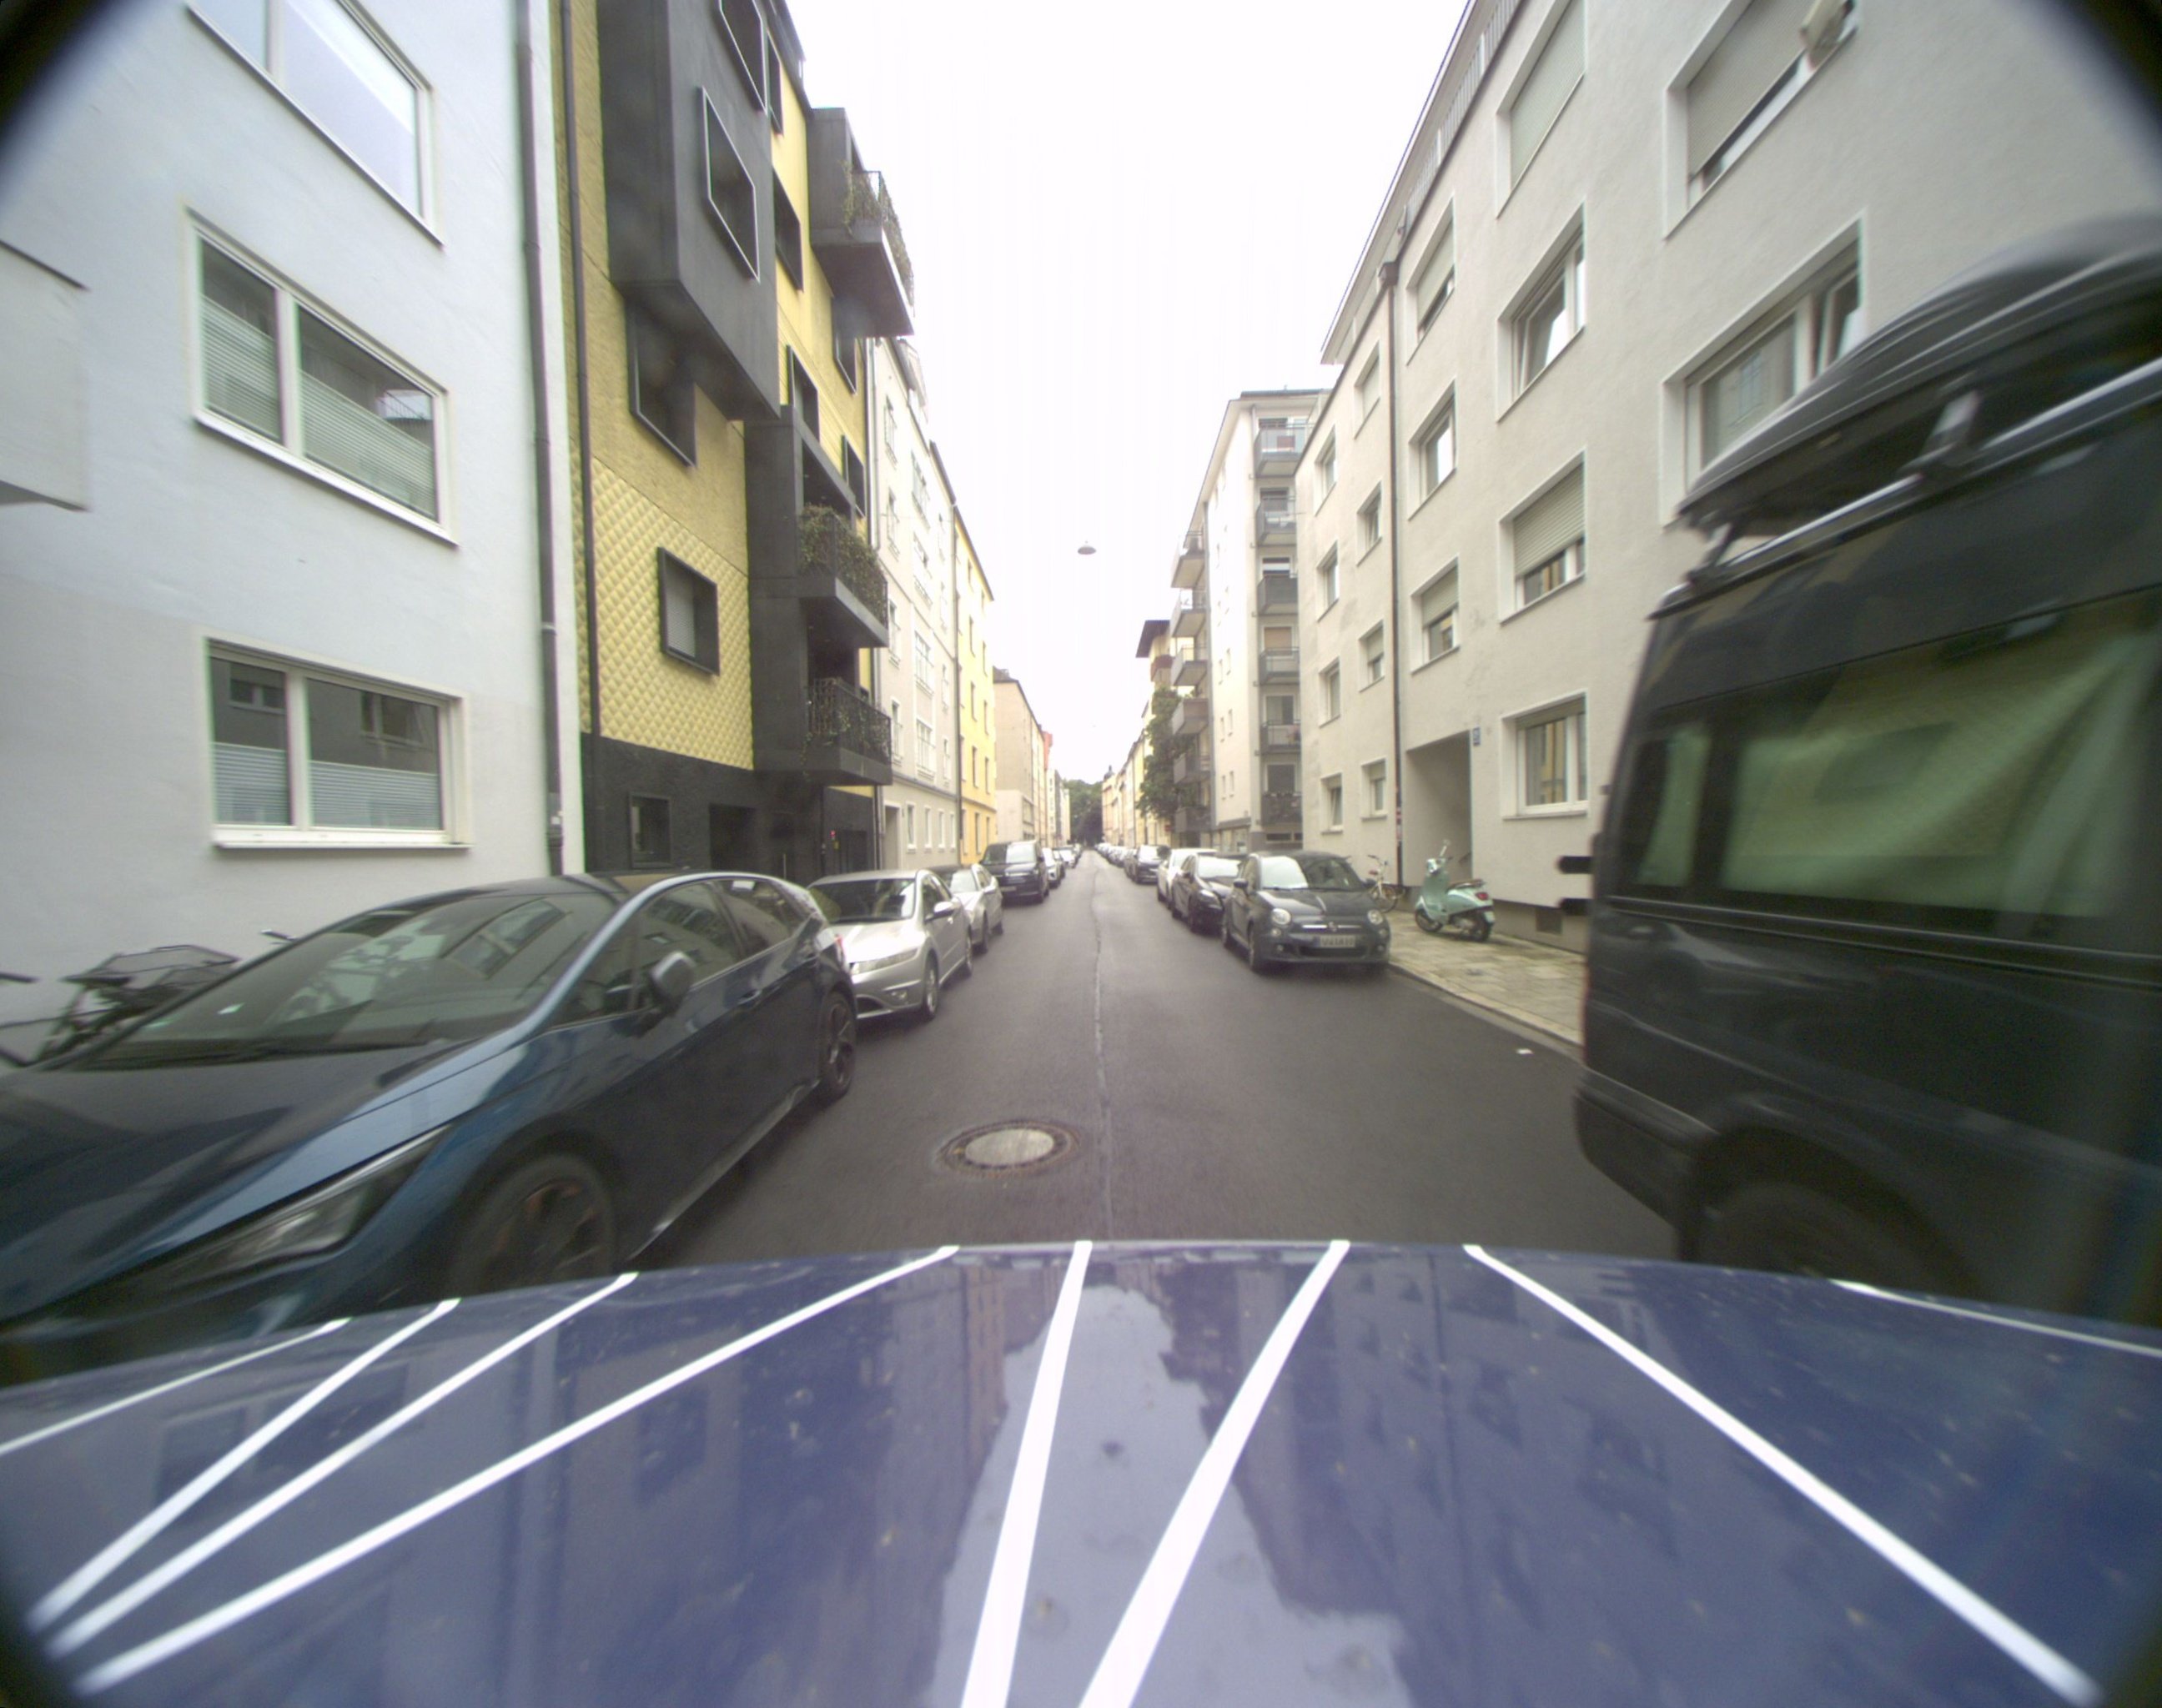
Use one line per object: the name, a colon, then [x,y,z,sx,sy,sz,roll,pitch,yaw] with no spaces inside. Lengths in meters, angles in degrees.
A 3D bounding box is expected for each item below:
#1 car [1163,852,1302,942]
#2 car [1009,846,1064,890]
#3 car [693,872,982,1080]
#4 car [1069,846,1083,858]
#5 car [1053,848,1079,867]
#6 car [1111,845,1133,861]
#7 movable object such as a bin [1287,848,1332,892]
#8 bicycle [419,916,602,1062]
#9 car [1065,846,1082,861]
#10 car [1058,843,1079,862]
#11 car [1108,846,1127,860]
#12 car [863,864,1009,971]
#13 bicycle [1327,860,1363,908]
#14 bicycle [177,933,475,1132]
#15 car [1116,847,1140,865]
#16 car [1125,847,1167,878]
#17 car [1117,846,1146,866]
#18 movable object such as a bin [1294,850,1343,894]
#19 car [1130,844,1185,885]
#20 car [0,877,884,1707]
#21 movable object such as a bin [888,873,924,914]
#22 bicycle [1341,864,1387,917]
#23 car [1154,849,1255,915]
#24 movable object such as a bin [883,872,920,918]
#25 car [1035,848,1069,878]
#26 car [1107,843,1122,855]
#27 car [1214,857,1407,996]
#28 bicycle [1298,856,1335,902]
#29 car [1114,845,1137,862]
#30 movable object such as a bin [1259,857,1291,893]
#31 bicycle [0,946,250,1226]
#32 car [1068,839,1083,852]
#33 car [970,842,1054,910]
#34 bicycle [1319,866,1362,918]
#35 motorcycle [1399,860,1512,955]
car: [2.778,0.715,14.899,1.805,1.409,4.225,-1,1,-1]
car: [-1.784,0.517,31.919,1.966,1.665,4.540,-1,1,1]
car: [-2.299,1.065,8.444,1.764,1.423,4.260,-4,1,-1]
car: [-0.692,-0.278,108.186,1.896,1.621,4.295,-1,1,1]
car: [-1.175,0.268,61.780,1.972,1.369,4.295,-1,1,1]
car: [4.009,-0.087,74.856,1.896,1.444,4.295,-1,1,1]
movable object such as a bin: [7.237,0.494,24.099,1.114,1.346,1.104,-1,1,2]
bicycle: [-5.136,1.165,6.964,0.478,1.042,1.521,-2,1,1]
car: [-0.845,-0.086,87.378,1.896,1.621,4.295,-1,1,1]
car: [-1.239,-0.182,76.854,1.896,1.859,4.295,-1,1,1]
car: [4.154,-0.163,86.947,1.896,1.444,4.295,-1,1,1]
car: [-2.346,0.969,13.358,1.739,1.421,4.201,-1,1,0]
bicycle: [6.069,0.671,17.495,0.380,1.011,1.441,0,1,2]
bicycle: [-5.136,1.151,5.324,0.478,0.997,1.552,-2,1,1]
car: [3.893,0.125,63.847,1.769,1.369,4.295,-1,1,1]
car: [3.306,0.405,39.078,1.818,1.434,4.295,-1,1,1]
car: [3.872,0.140,58.317,1.972,1.369,4.295,-1,1,1]
movable object such as a bin: [7.168,0.520,22.984,1.123,1.256,1.097,-1,1,2]
car: [3.262,0.393,33.080,1.972,1.598,4.539,-1,1,1]
car: [-2.503,1.009,3.440,1.910,1.545,4.624,-1,1,1]
movable object such as a bin: [-4.692,1.065,20.412,0.797,1.048,0.546,-2,1,0]
bicycle: [5.912,0.731,15.922,0.399,1.011,1.574,0,1,1]
car: [3.081,0.630,19.988,1.917,1.429,4.808,-1,1,1]
movable object such as a bin: [-4.673,1.061,19.832,0.797,1.133,0.573,-2,1,0]
car: [-1.567,0.446,42.139,1.691,1.496,3.856,-1,1,1]
car: [4.513,-0.713,103.341,1.896,1.444,4.295,-1,1,1]
car: [2.875,0.814,10.319,1.615,1.438,3.743,1,1,3]
bicycle: [6.270,0.644,20.299,0.342,1.132,1.683,-2,1,-3]
car: [3.995,-0.037,69.278,1.896,1.444,4.295,-1,1,1]
movable object such as a bin: [6.018,0.646,23.558,0.770,1.070,0.635,-2,1,-4]
bicycle: [-5.198,1.123,3.677,0.572,1.144,1.563,-2,1,1]
car: [-0.686,-1.064,99.521,1.896,1.621,4.295,-1,1,1]
car: [-2.046,0.585,24.091,1.987,1.828,5.183,-3,1,1]
bicycle: [5.523,0.786,16.247,0.388,1.011,1.624,0,1,1]
motorcycle: [5.329,0.716,10.939,0.601,1.197,1.858,-2,1,-4]
